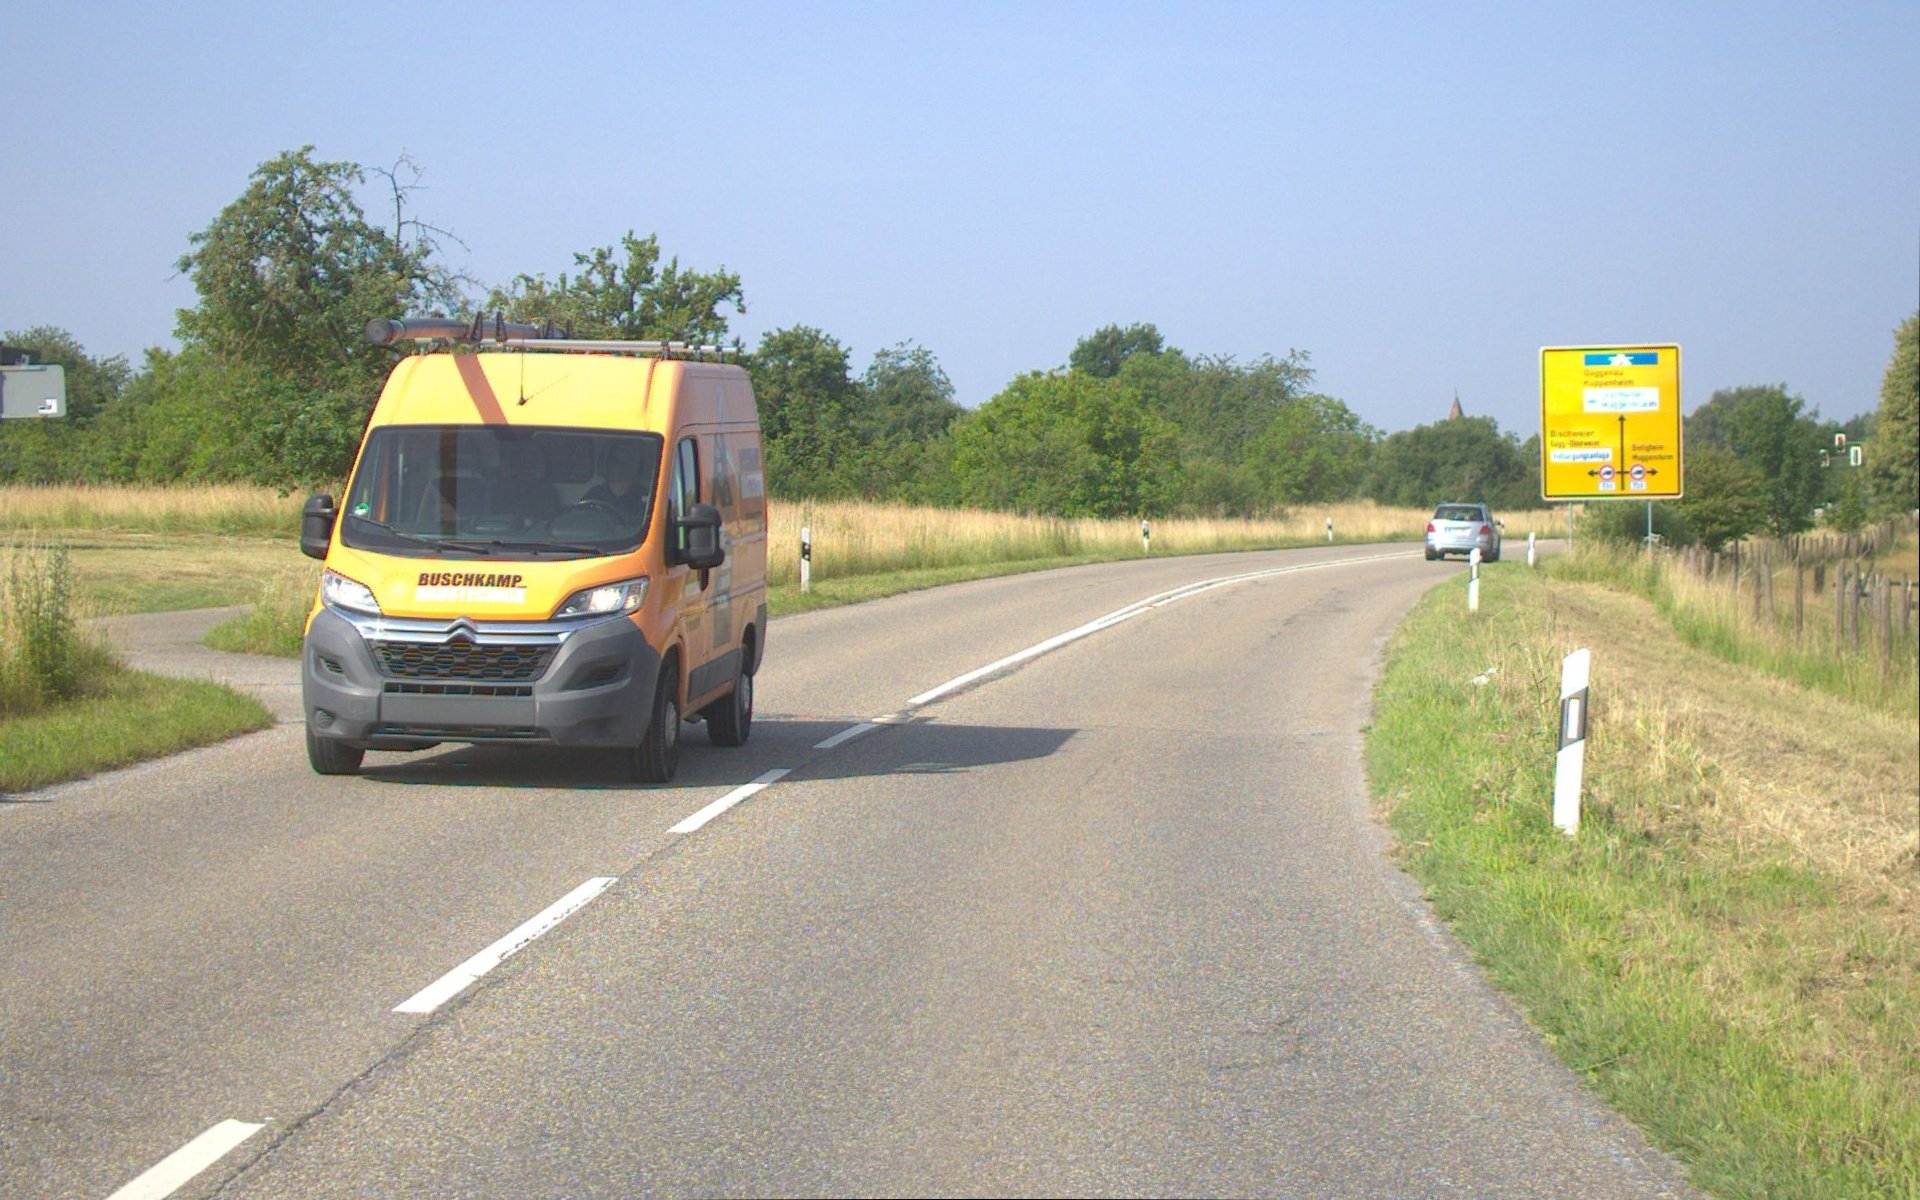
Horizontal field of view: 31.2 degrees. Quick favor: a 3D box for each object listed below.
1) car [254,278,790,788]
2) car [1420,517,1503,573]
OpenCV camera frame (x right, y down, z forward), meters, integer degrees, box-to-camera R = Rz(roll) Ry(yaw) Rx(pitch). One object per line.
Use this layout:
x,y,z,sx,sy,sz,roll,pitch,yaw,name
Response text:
-2.490,-0.422,21.064,2.124,2.686,5.267,1,1,5,car
14.170,-1.569,97.016,1.900,1.506,3.998,2,1,14,car
